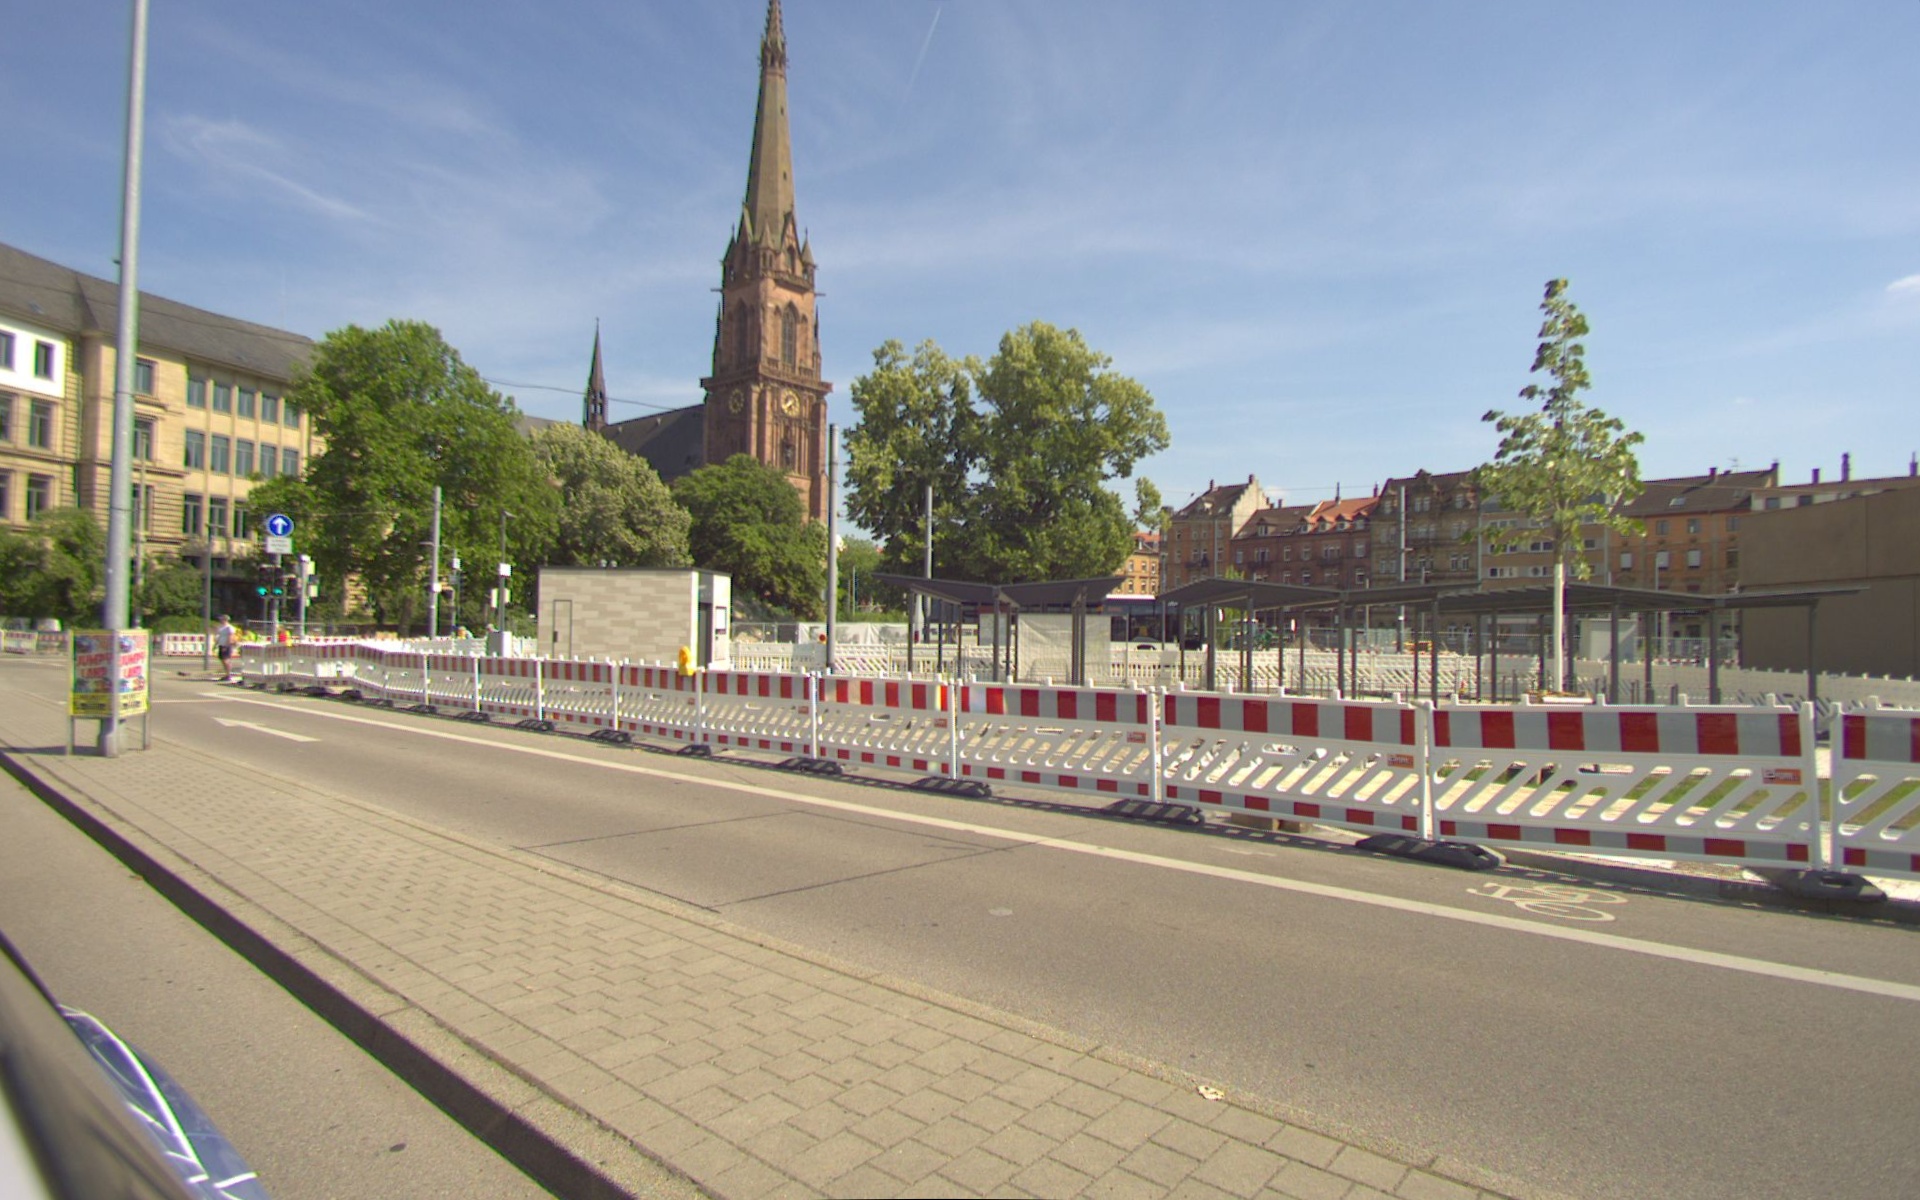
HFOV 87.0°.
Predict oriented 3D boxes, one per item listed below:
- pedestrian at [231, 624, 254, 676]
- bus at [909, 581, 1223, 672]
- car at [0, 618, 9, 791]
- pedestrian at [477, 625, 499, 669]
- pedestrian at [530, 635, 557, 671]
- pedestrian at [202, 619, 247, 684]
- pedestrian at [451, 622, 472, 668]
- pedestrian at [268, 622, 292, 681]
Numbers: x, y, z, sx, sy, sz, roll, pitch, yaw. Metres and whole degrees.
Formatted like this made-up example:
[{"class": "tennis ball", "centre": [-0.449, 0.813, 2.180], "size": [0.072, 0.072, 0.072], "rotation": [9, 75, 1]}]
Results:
[{"class": "pedestrian", "centre": [-22.058, 1.514, 31.132], "size": [0.416, 1.555, 0.670], "rotation": [-2, 0, -24]}, {"class": "bus", "centre": [4.305, 1.074, 42.109], "size": [12.504, 3.516, 2.856], "rotation": [0, -2, 7]}, {"class": "car", "centre": [-6.413, 0.822, 5.102], "size": [4.825, 1.530, 1.840], "rotation": [0, -2, 41]}, {"class": "pedestrian", "centre": [-17.673, 1.738, 37.908], "size": [0.576, 1.628, 0.691], "rotation": [0, -2, -11]}, {"class": "pedestrian", "centre": [-19.639, 2.469, 47.693], "size": [0.926, 1.668, 0.845], "rotation": [2, -3, -41]}, {"class": "pedestrian", "centre": [-20.937, 1.451, 28.815], "size": [0.827, 1.826, 0.651], "rotation": [0, -2, -13]}, {"class": "pedestrian", "centre": [-18.141, 1.626, 36.847], "size": [0.650, 1.628, 0.796], "rotation": [1, -2, -24]}, {"class": "pedestrian", "centre": [-19.007, 1.422, 28.283], "size": [0.686, 1.628, 0.346], "rotation": [-1, -3, 42]}]
